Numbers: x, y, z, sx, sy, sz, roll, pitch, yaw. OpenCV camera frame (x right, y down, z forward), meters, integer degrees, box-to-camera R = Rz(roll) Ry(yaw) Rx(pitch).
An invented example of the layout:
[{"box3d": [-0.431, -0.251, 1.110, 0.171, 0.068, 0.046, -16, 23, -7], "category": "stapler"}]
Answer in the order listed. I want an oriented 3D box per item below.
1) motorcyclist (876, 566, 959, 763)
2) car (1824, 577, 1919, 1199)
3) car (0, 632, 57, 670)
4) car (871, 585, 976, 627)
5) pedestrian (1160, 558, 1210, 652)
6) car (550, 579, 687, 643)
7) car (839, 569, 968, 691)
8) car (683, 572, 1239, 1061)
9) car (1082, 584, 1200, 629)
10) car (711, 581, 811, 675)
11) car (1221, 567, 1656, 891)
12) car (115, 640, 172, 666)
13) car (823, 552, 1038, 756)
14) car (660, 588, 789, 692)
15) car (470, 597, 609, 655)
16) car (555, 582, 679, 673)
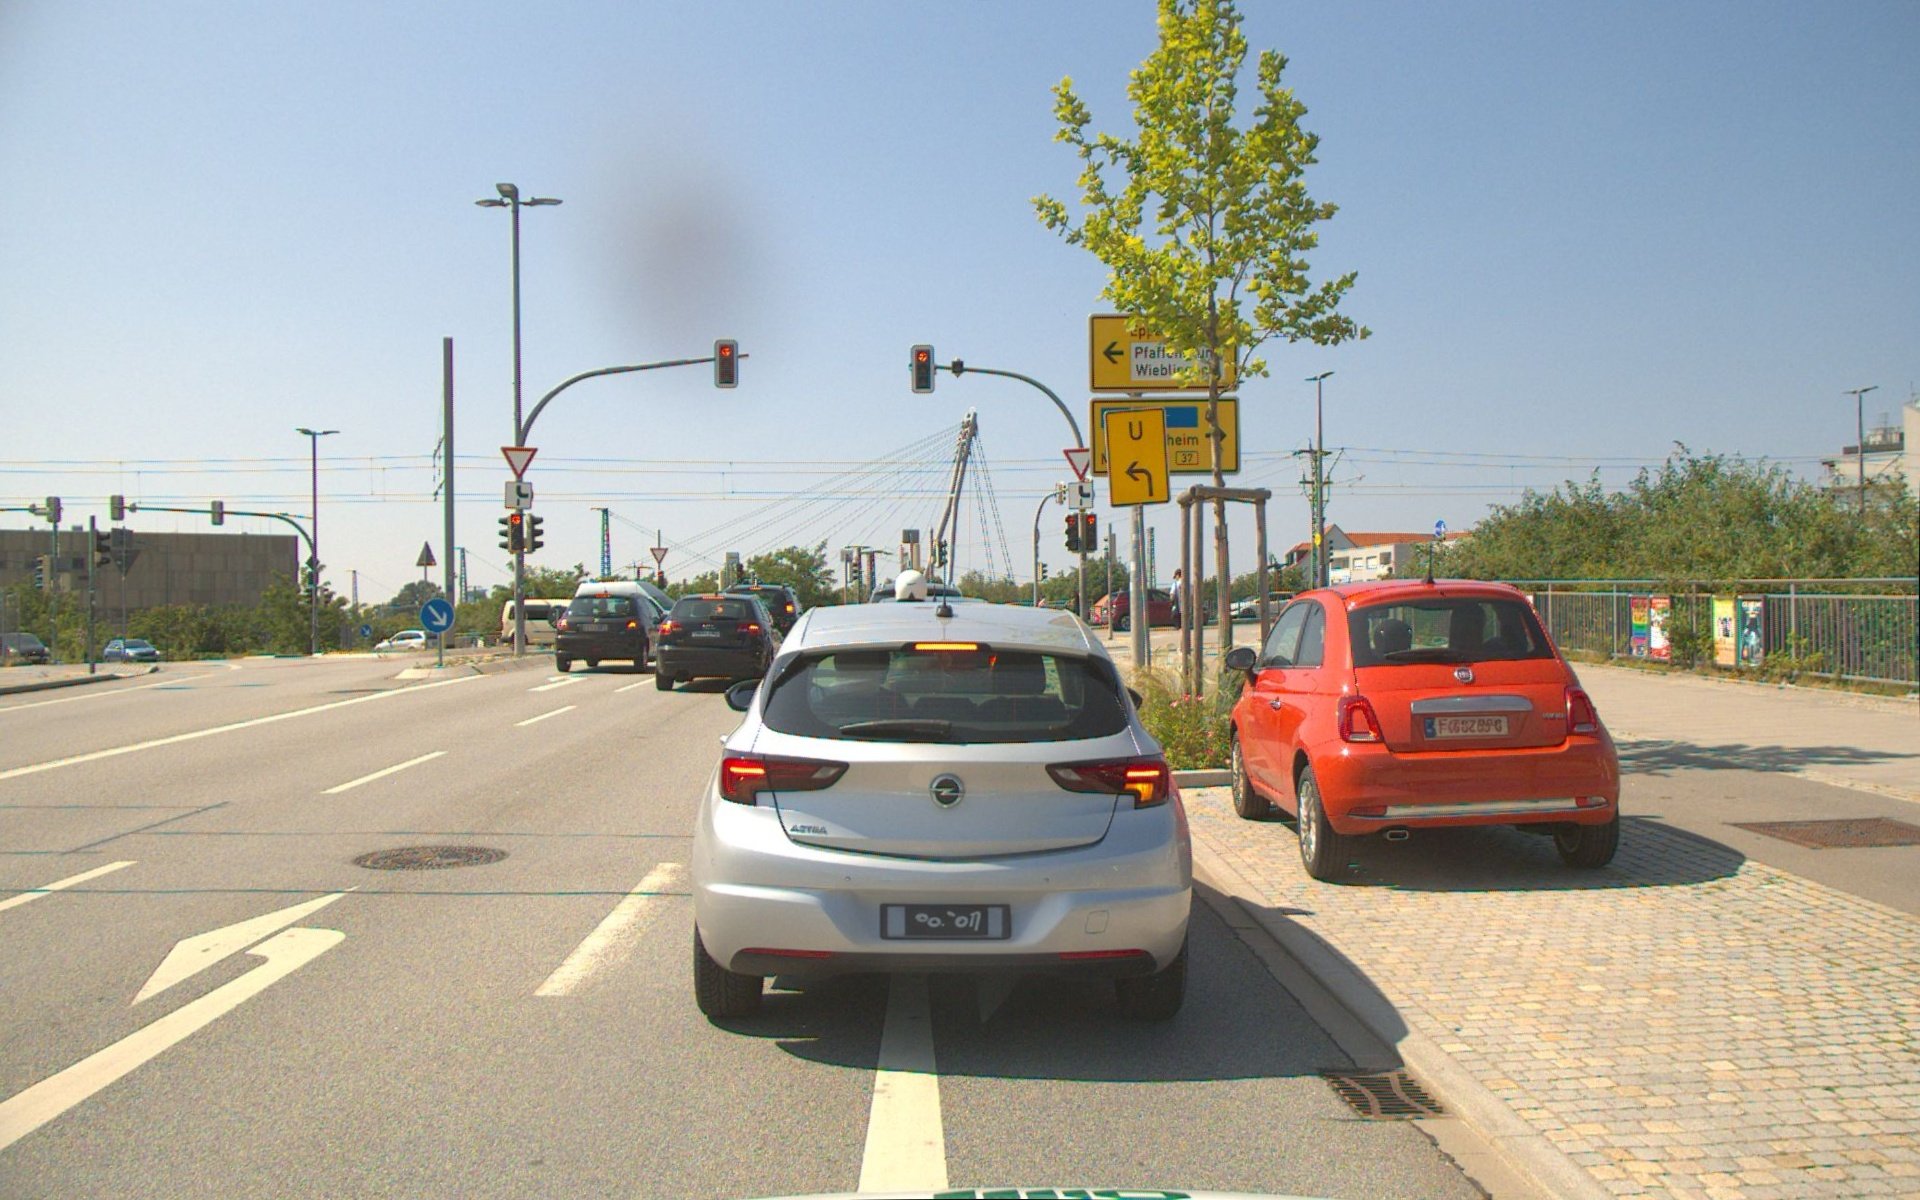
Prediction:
[{"box3d": [-0.311, 0.469, 12.286, 0.570, 1.413, 0.706, 1, -1, -1], "category": "motorcyclist"}, {"box3d": [2.913, 0.634, 1.923, 1.627, 1.451, 3.999, -3, 0, -1], "category": "car"}, {"box3d": [-41.162, 2.227, 73.066, 1.662, 1.502, 3.358, -1, 1, -39], "category": "car"}, {"box3d": [-1.418, 0.238, 63.280, 3.907, 1.508, 1.999, 1, 0, -3], "category": "car"}, {"box3d": [4.567, 0.102, 33.528, 0.792, 1.868, 0.638, 0, -1, -45], "category": "pedestrian"}, {"box3d": [-13.202, 0.421, 64.021, 4.893, 2.418, 1.785, 0, -1, 14], "category": "car"}, {"box3d": [-0.769, 0.364, 23.894, 1.689, 1.591, 4.000, 1, 1, -1], "category": "car"}, {"box3d": [-0.098, 0.687, 7.142, 1.708, 1.503, 3.997, 1, 0, -3], "category": "car"}, {"box3d": [6.918, 0.249, 63.460, 4.194, 1.660, 1.752, 0, -1, -8], "category": "car"}, {"box3d": [-3.728, 0.509, 31.523, 1.616, 1.643, 3.818, 1, 0, -3], "category": "car"}, {"box3d": [2.608, 0.620, 9.776, 1.577, 1.522, 3.352, -2, 0, 0], "category": "car"}, {"box3d": [-42.961, 2.777, 87.004, 1.806, 1.354, 3.941, 1, -2, -40], "category": "car"}, {"box3d": [-0.303, 0.471, 17.505, 1.953, 1.852, 4.401, 1, 1, -1], "category": "car"}, {"box3d": [-3.579, 0.582, 25.653, 1.543, 1.459, 3.785, 1, 0, -2], "category": "car"}, {"box3d": [-15.646, 0.949, 61.624, 4.603, 2.049, 2.001, 1, 0, 17], "category": "car"}, {"box3d": [-6.353, 0.485, 30.975, 1.565, 1.574, 3.761, 1, 0, -1], "category": "car"}]
